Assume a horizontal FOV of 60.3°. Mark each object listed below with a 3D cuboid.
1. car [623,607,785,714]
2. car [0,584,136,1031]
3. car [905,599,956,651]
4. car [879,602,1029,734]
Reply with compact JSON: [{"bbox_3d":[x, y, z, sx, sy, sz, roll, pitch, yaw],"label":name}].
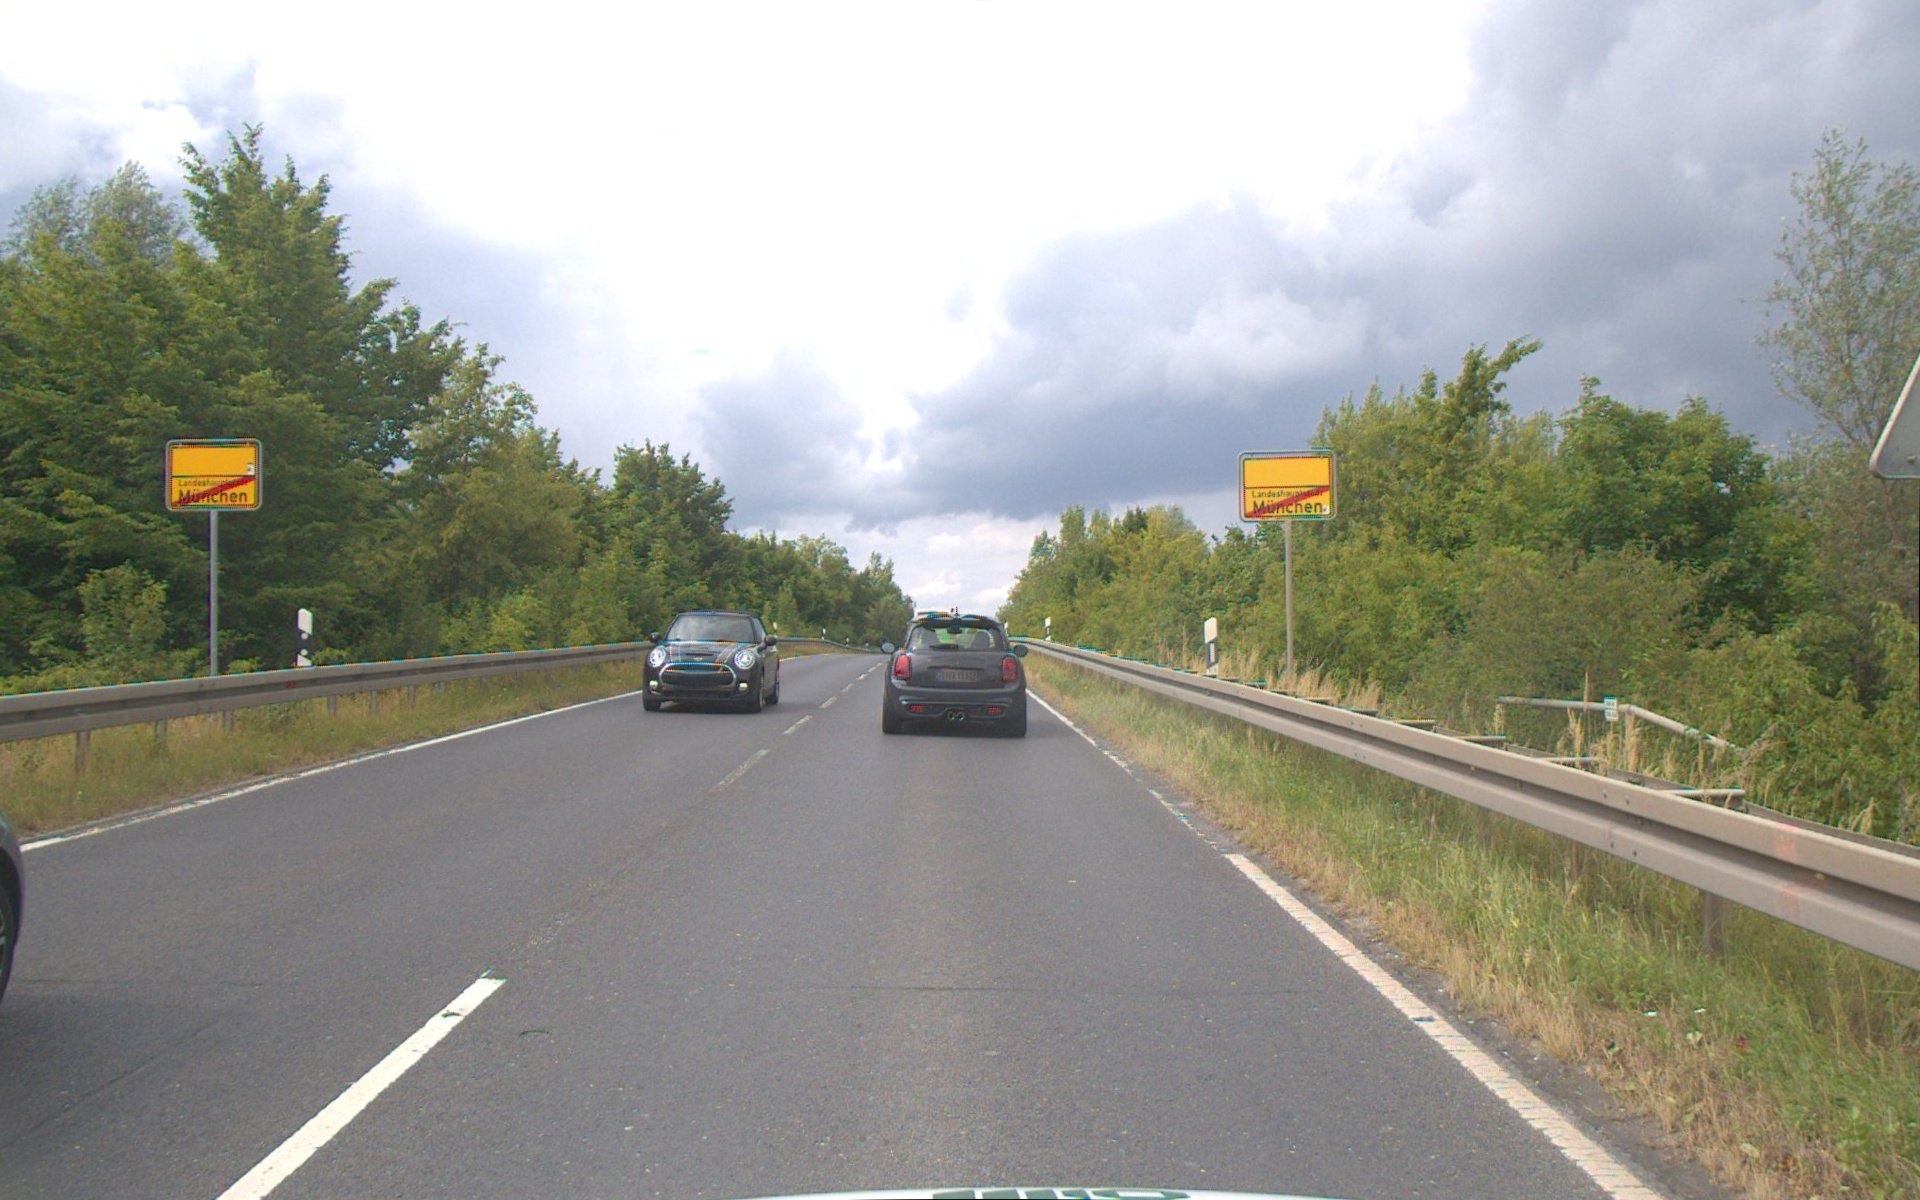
[{"bbox_3d":[-3.727,0.859,24.719,1.798,1.445,3.999,0,-1,0],"label":"car"},{"bbox_3d":[-4.026,0.675,4.337,1.798,1.470,3.999,0,0,-1],"label":"car"},{"bbox_3d":[-1.207,1.025,68.519,1.980,2.049,4.000,0,-1,1],"label":"car"},{"bbox_3d":[-0.035,0.798,20.912,1.696,1.481,4.000,1,-1,1],"label":"car"}]
